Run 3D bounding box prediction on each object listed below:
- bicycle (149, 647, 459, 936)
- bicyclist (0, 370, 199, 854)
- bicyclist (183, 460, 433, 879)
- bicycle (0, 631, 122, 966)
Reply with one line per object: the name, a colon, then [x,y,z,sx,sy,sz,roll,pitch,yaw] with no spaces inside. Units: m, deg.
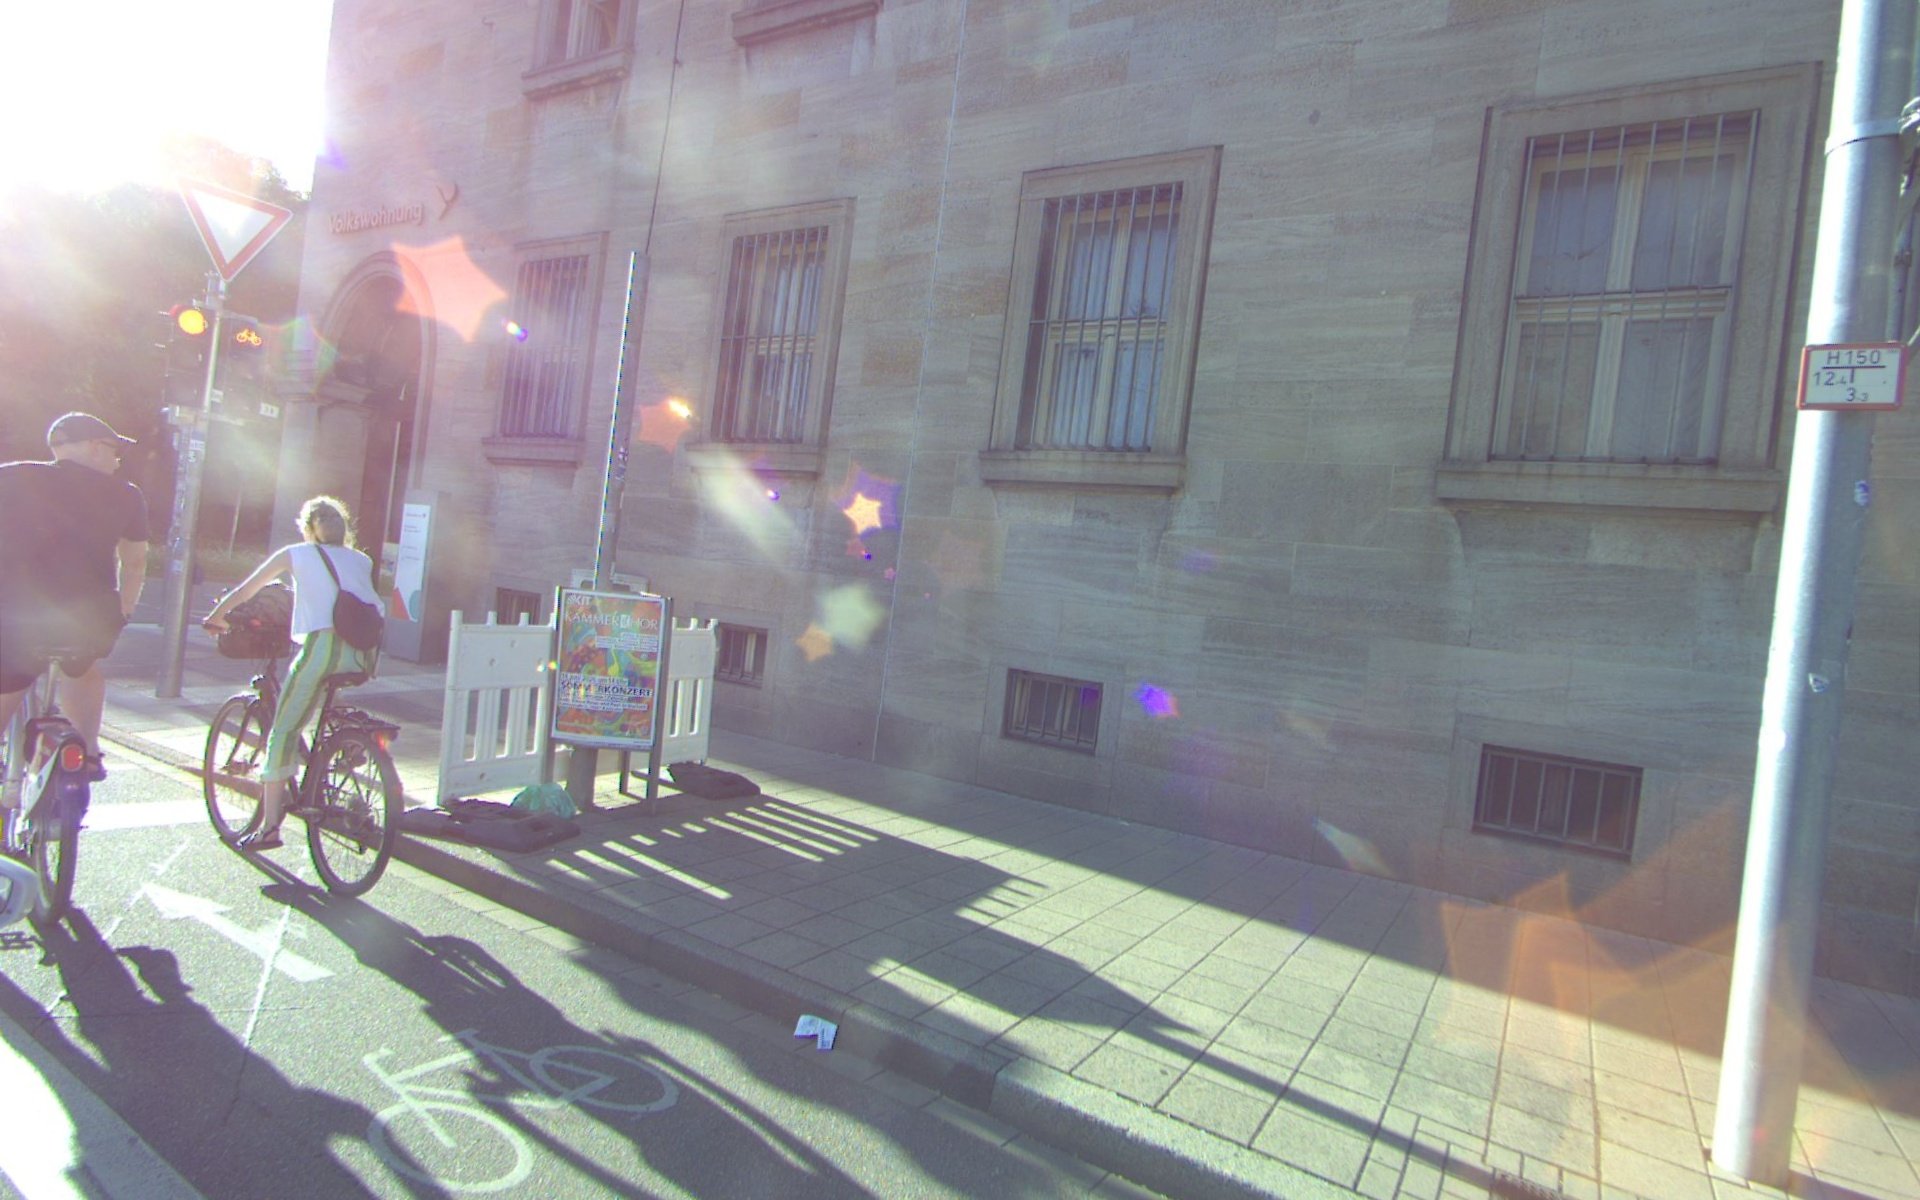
bicycle: [-3.056,0.779,4.594,1.920,0.887,0.427,7,0,35]
bicyclist: [-3.504,0.044,3.860,0.647,1.698,0.669,7,1,40]
bicyclist: [-2.951,0.272,4.548,0.845,1.700,0.522,7,1,35]
bicycle: [-3.813,0.674,3.979,1.923,0.916,0.388,7,0,41]
